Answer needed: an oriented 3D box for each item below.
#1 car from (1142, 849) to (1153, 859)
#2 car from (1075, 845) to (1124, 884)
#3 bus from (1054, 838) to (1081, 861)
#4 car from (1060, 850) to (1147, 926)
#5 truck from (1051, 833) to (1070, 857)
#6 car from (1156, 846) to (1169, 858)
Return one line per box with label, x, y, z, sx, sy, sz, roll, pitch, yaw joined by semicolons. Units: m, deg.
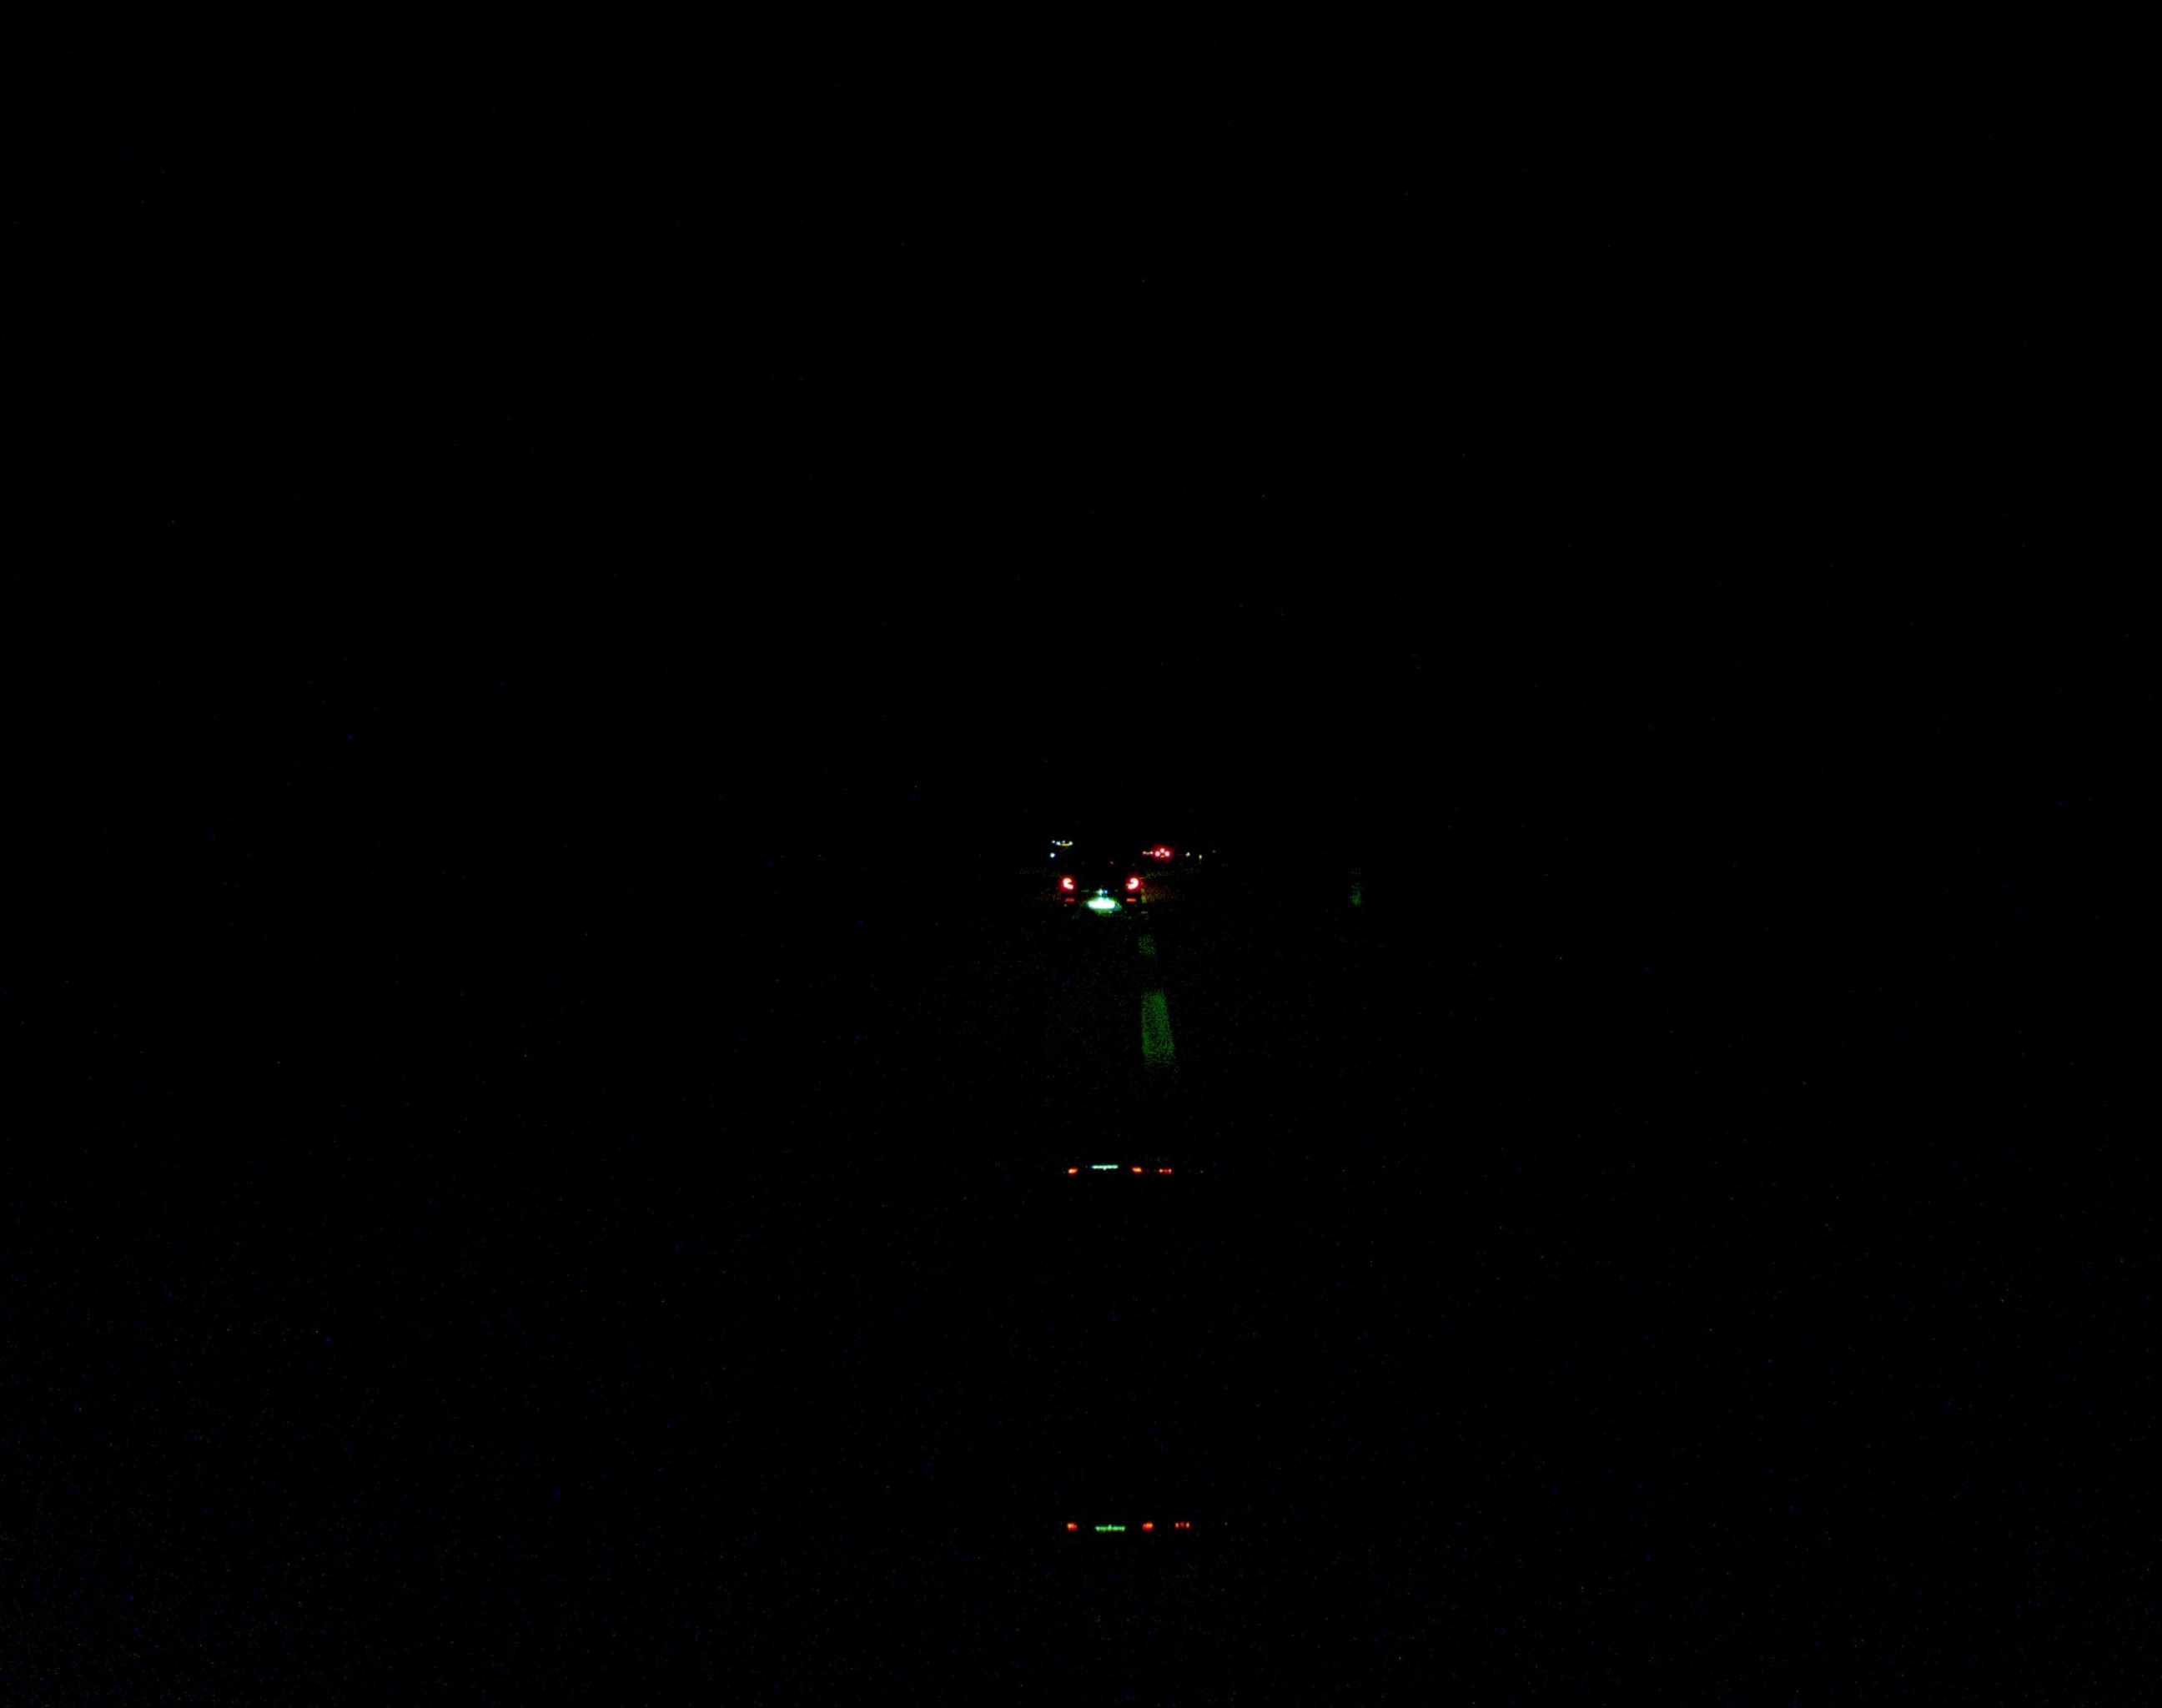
car;11.993;-0.053;146.879;1.942;1.538;4.246;-5;-2;4
car;0.886;0.424;36.109;1.932;1.608;4.648;0;1;4
bus;-2.050;-0.811;129.700;2.909;3.387;12.325;-1;1;5
car;0.433;0.648;17.830;1.686;1.478;3.999;0;0;0
truck;-3.634;-1.586;145.790;2.663;4.177;5.878;-1;0;6
car;11.972;-0.301;119.339;1.726;1.618;3.801;-1;0;3
